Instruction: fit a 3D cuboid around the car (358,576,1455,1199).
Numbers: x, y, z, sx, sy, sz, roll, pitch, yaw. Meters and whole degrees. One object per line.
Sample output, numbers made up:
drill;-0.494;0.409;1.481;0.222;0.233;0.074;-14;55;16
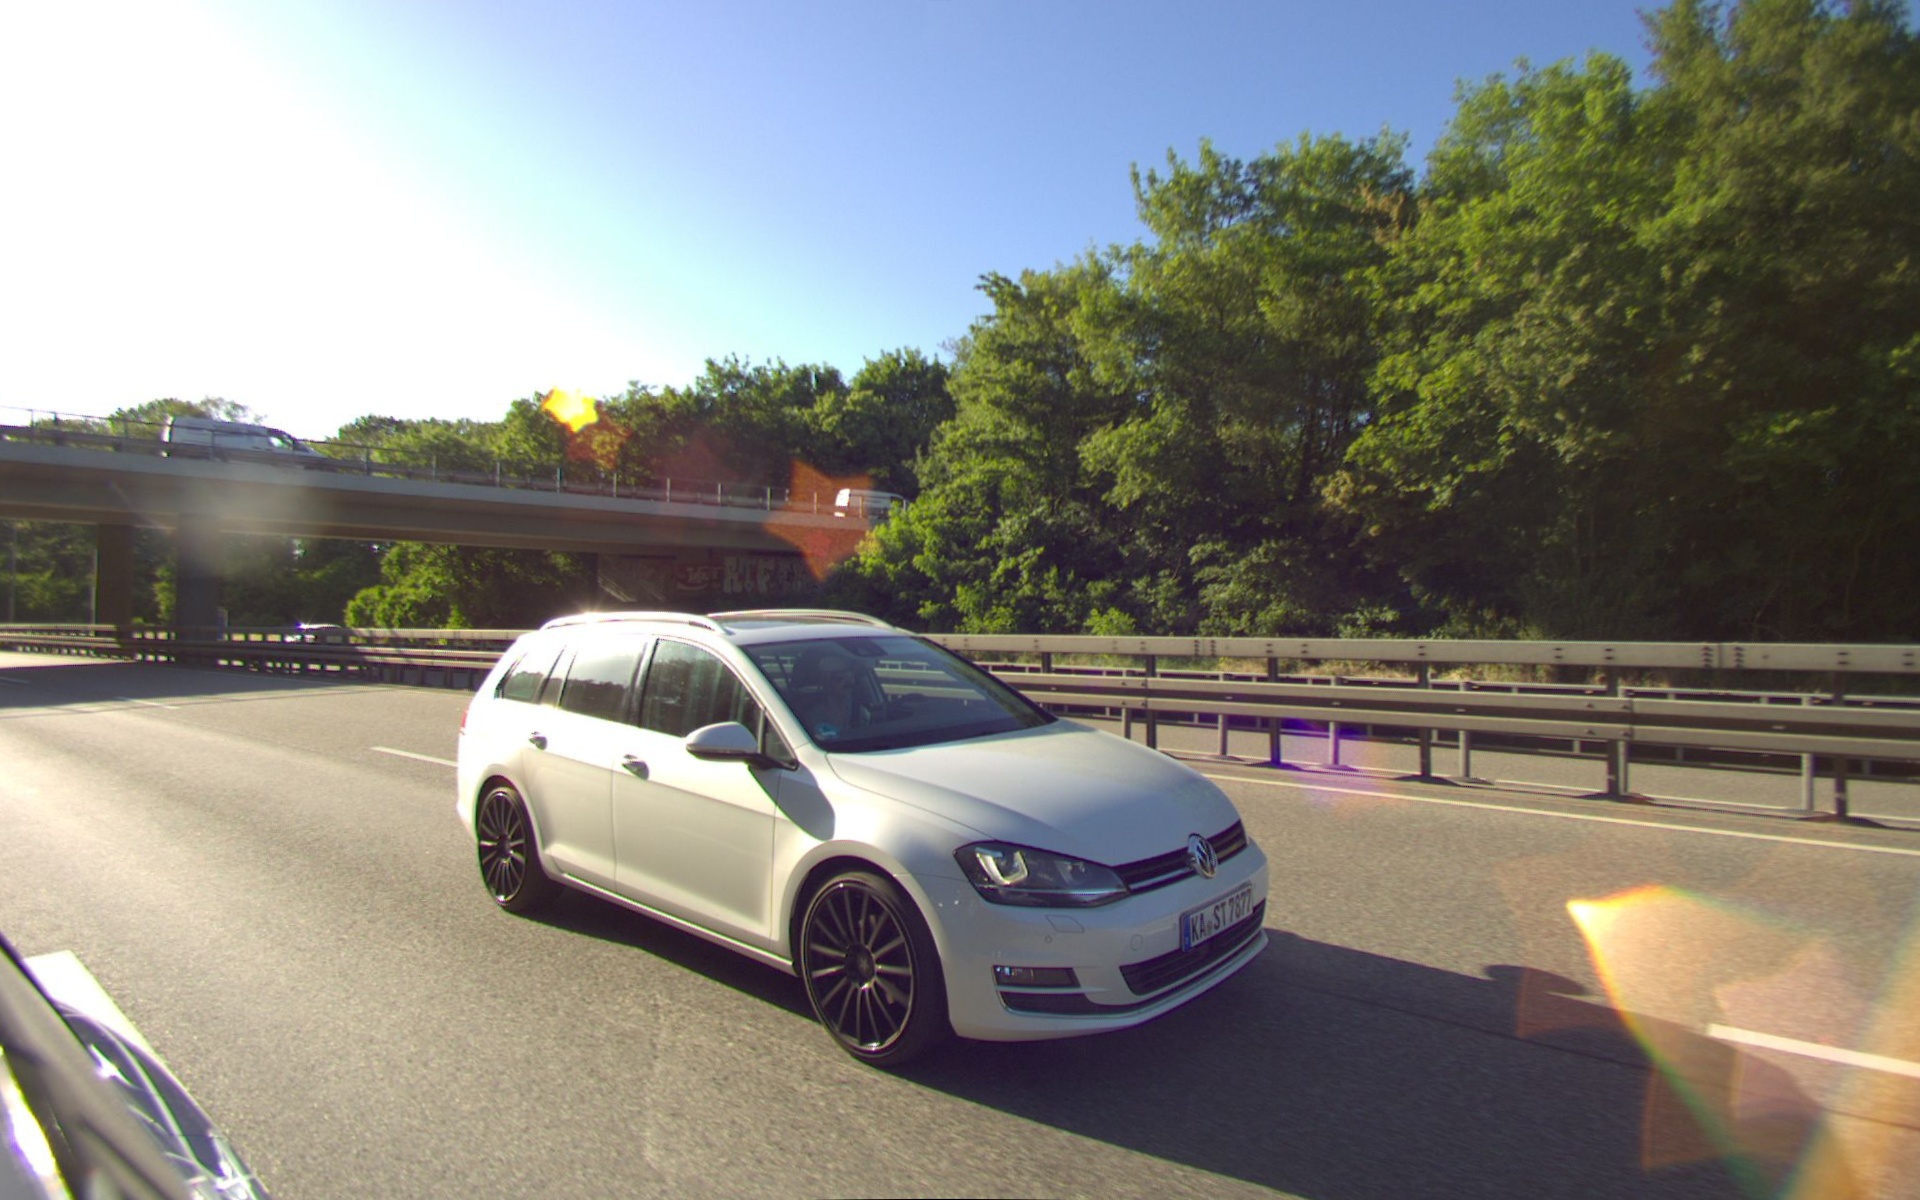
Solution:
car;-0.883;0.755;4.912;5.597;1.519;1.909;-1;-1;42

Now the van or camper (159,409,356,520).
van or camper;-24.198;-4.544;35.001;5.377;3.205;2.003;0;2;-43
